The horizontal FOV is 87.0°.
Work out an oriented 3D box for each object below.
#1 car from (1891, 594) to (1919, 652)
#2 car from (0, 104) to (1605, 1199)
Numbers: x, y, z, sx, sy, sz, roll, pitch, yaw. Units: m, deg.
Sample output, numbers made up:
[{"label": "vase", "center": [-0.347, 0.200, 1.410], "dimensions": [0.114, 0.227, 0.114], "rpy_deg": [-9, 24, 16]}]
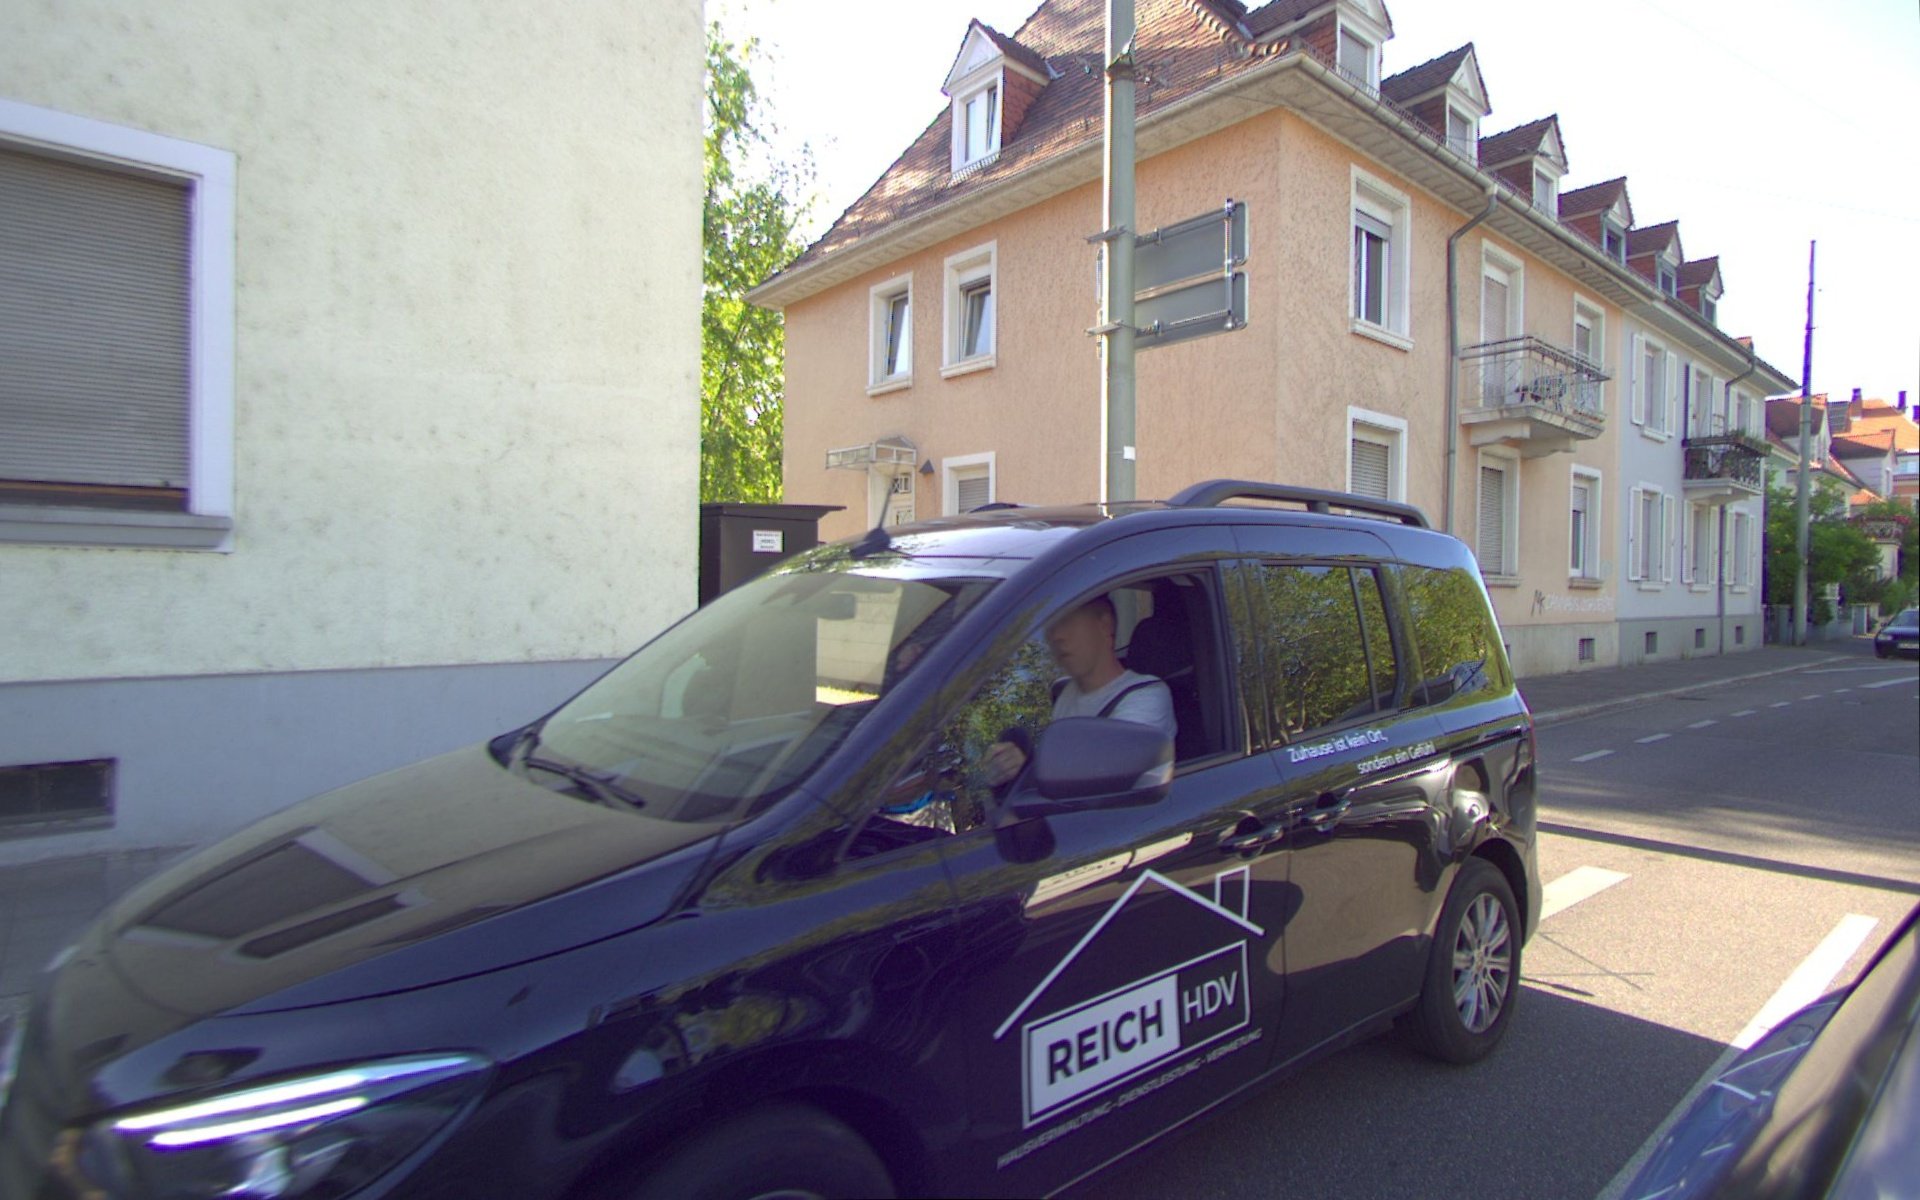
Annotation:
[{"label": "car", "center": [26.646, 0.601, 27.289], "dimensions": [3.930, 1.476, 1.839], "rpy_deg": [-1, 0, -41]}, {"label": "car", "center": [0.195, 0.401, 3.207], "dimensions": [4.695, 1.827, 1.864], "rpy_deg": [-1, 0, -41]}]
